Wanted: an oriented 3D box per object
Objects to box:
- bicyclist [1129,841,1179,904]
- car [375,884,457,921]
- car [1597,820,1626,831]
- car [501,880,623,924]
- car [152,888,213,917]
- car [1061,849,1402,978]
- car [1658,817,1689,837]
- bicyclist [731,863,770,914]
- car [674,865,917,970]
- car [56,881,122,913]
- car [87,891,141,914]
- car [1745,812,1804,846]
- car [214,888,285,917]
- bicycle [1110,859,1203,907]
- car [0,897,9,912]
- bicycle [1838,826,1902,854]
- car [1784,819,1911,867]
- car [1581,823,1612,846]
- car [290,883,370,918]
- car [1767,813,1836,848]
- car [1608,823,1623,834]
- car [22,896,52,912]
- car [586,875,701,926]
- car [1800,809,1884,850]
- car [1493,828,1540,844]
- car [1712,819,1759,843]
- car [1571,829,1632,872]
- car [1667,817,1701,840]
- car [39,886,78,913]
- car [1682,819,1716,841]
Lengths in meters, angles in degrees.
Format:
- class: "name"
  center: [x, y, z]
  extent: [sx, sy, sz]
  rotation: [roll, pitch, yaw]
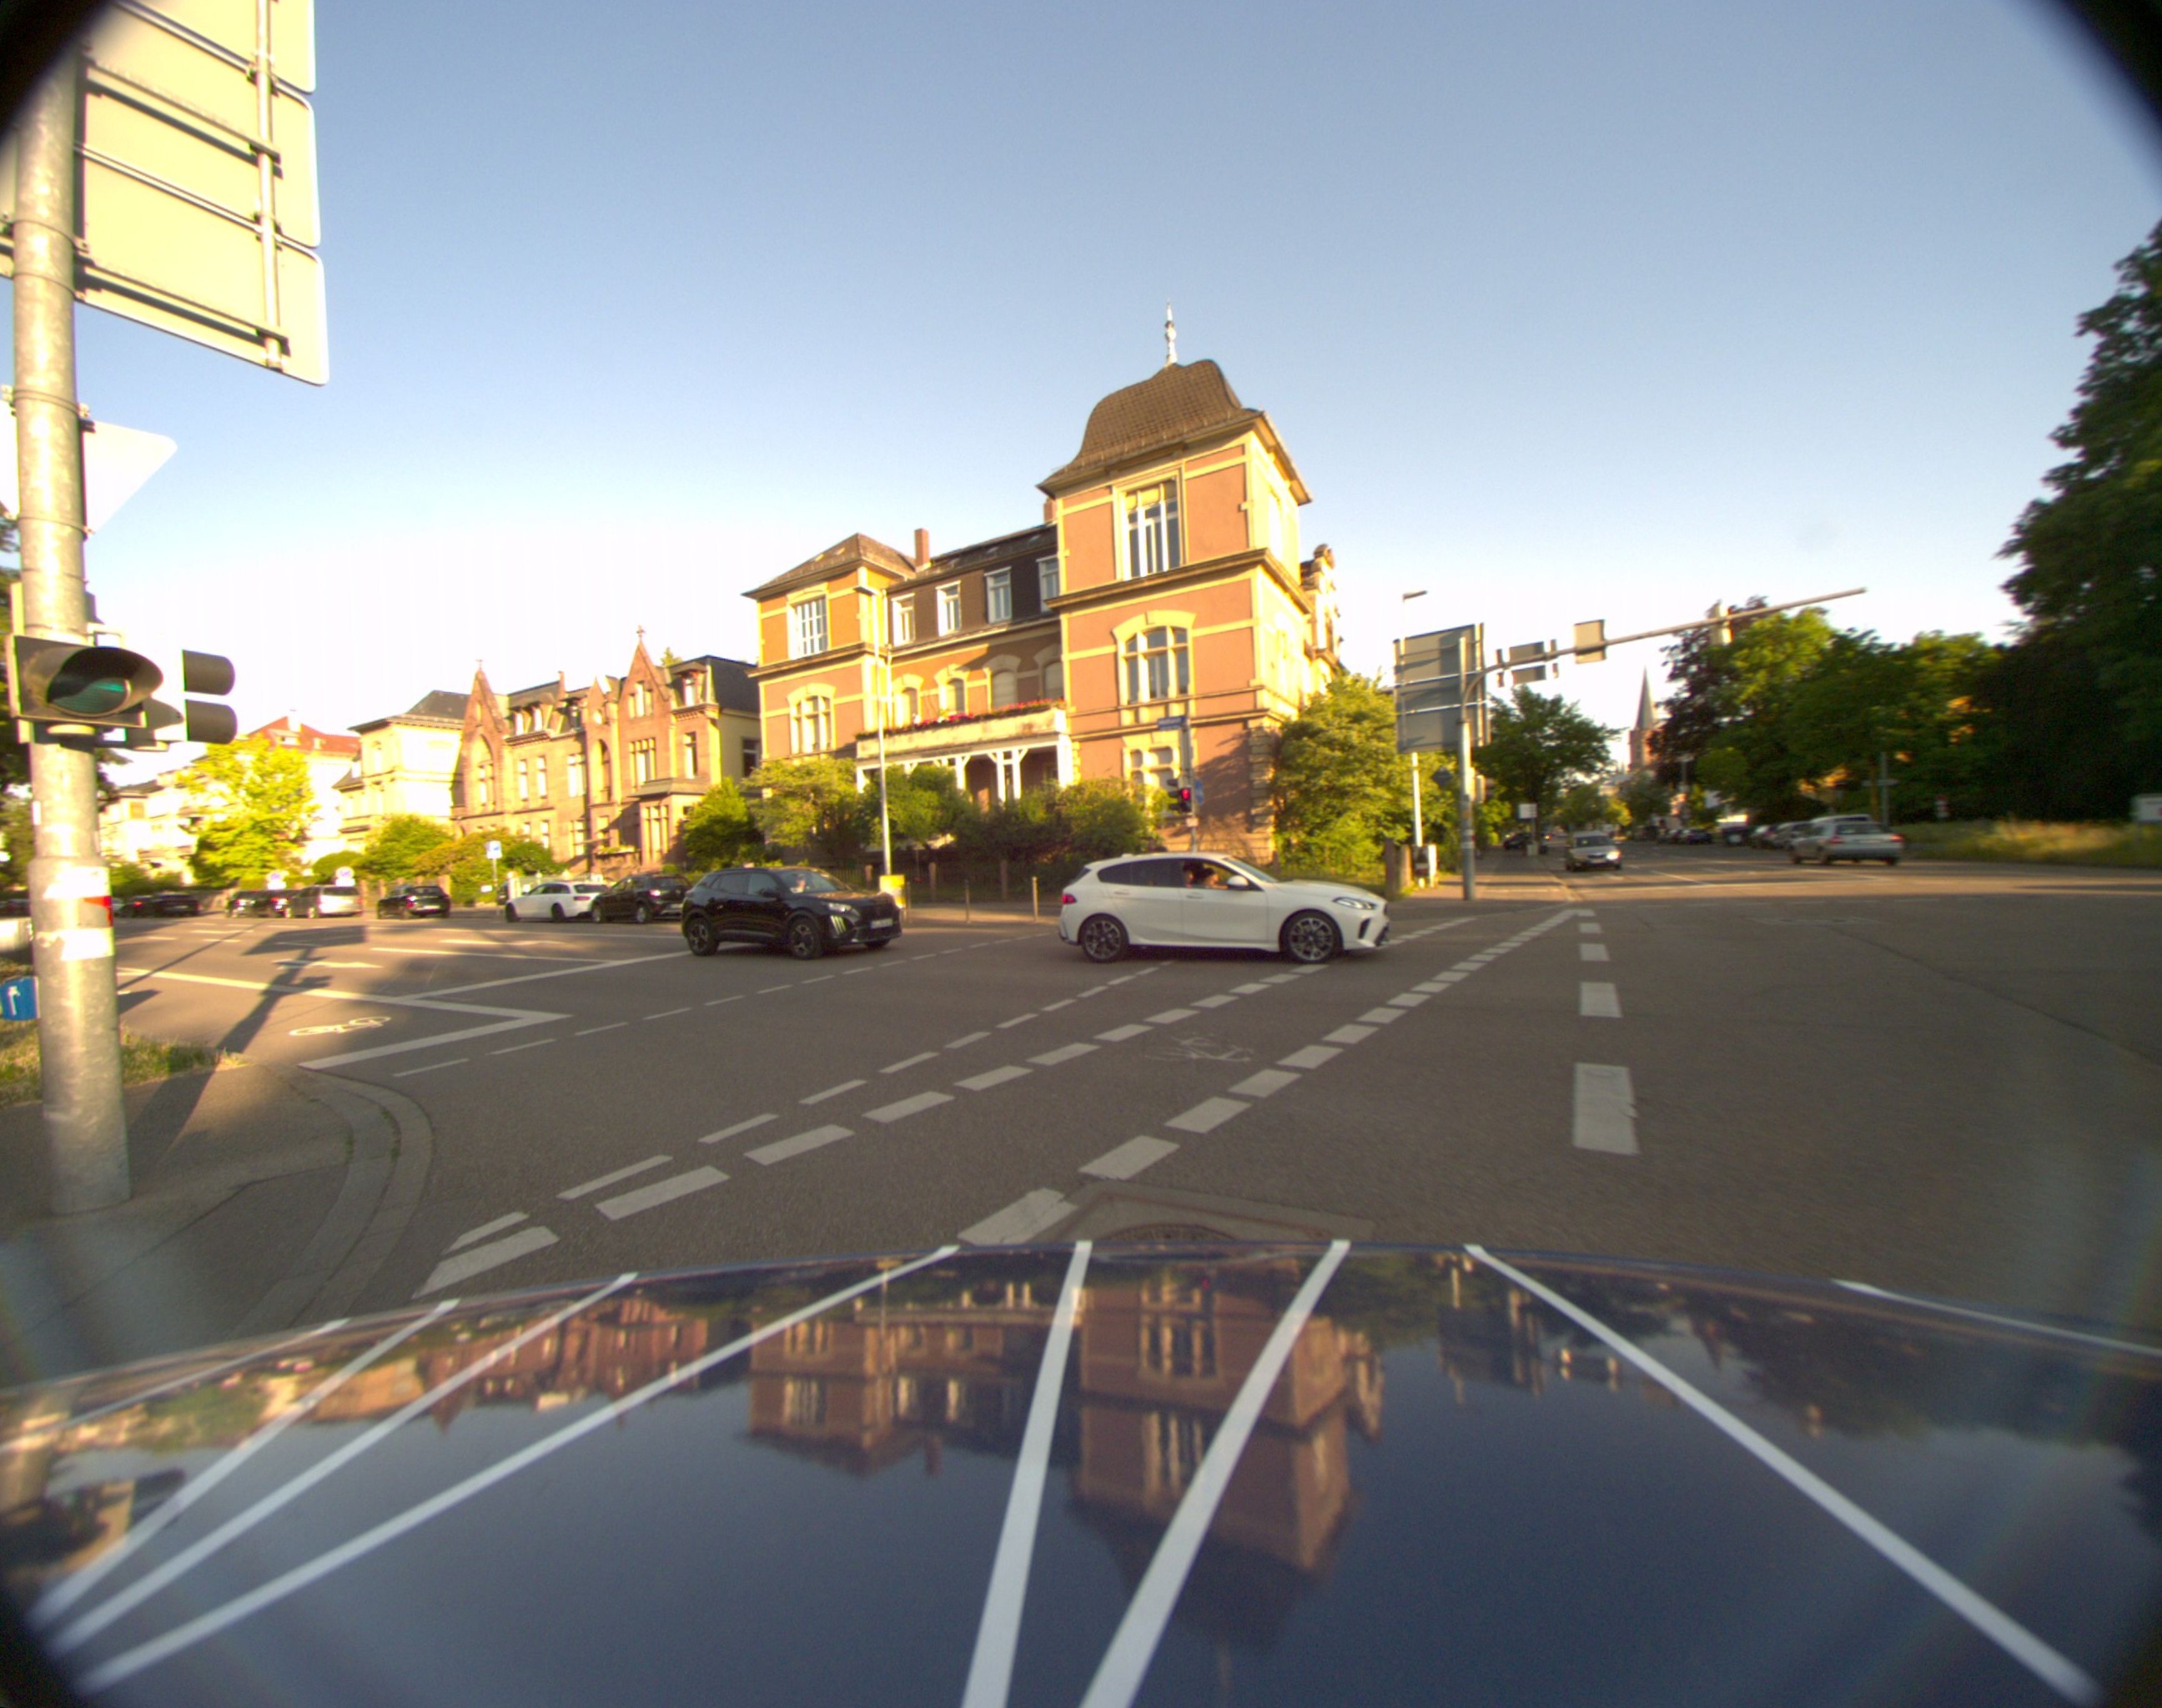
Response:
- class: "bicyclist"
  center: [1.819, 0.454, 18.907]
  extent: [0.953, 1.504, 0.686]
  rotation: [-2, 2, 30]
- class: "car"
  center: [-28.948, 2.086, 33.056]
  extent: [3.557, 1.437, 1.636]
  rotation: [-2, 0, 31]
- class: "car"
  center: [86.164, -4.617, 123.456]
  extent: [3.749, 1.608, 1.826]
  rotation: [-2, 1, 32]
- class: "car"
  center: [-18.335, 1.682, 26.803]
  extent: [4.421, 1.434, 1.613]
  rotation: [-2, -2, 27]
- class: "car"
  center: [-58.019, 3.108, 49.067]
  extent: [3.712, 1.596, 1.885]
  rotation: [0, 1, 30]
- class: "car"
  center: [2.030, 0.758, 10.277]
  extent: [4.179, 1.457, 1.760]
  rotation: [-2, 1, 22]
- class: "car"
  center: [60.406, -2.738, 77.503]
  extent: [1.995, 1.806, 4.006]
  rotation: [-2, 3, 30]
- class: "bicyclist"
  center: [-11.081, 1.147, 25.469]
  extent: [0.912, 1.624, 0.654]
  rotation: [-2, 3, 30]
- class: "car"
  center: [-5.007, 1.048, 13.229]
  extent: [3.990, 1.527, 1.686]
  rotation: [-2, 1, 29]
- class: "car"
  center: [-79.272, 3.472, 60.720]
  extent: [5.864, 2.355, 2.236]
  rotation: [-2, 0, 28]
- class: "car"
  center: [-73.301, 3.703, 57.584]
  extent: [3.844, 1.596, 1.720]
  rotation: [-2, 0, 26]
- class: "car"
  center: [43.293, -1.550, 47.528]
  extent: [1.933, 2.002, 4.007]
  rotation: [-2, 1, 31]
- class: "car"
  center: [-45.845, 2.657, 41.885]
  extent: [3.713, 1.441, 1.720]
  rotation: [-2, 0, 28]
- class: "bicycle"
  center: [1.866, 0.728, 18.898]
  extent: [2.163, 1.117, 0.689]
  rotation: [-2, 2, 30]
- class: "car"
  center: [-109.832, 5.123, 76.910]
  extent: [2.508, 1.430, 1.223]
  rotation: [-2, 0, 30]
- class: "bicycle"
  center: [35.358, -0.629, 34.082]
  extent: [1.872, 1.150, 0.754]
  rotation: [-2, 3, 34]
- class: "car"
  center: [24.916, -0.374, 24.892]
  extent: [1.731, 1.400, 4.146]
  rotation: [-3, 0, 28]
- class: "car"
  center: [43.497, -1.692, 64.199]
  extent: [1.995, 1.783, 4.007]
  rotation: [-2, 1, 32]
- class: "car"
  center: [-37.058, 2.280, 37.495]
  extent: [3.744, 1.579, 1.720]
  rotation: [-2, 0, 28]
- class: "car"
  center: [40.716, -1.315, 43.049]
  extent: [1.858, 1.835, 4.195]
  rotation: [-2, 1, 30]
- class: "car"
  center: [83.931, -4.006, 119.289]
  extent: [1.673, 1.718, 3.643]
  rotation: [-2, 1, 31]
- class: "car"
  center: [-97.521, 4.686, 70.954]
  extent: [2.690, 1.430, 1.330]
  rotation: [-2, 0, 30]
- class: "car"
  center: [-14.217, 1.501, 24.672]
  extent: [3.713, 1.525, 1.636]
  rotation: [-2, -2, 31]
- class: "car"
  center: [37.832, -1.215, 37.890]
  extent: [1.858, 1.835, 4.127]
  rotation: [-2, 1, 29]
- class: "car"
  center: [44.390, -1.815, 77.579]
  extent: [1.810, 1.500, 3.842]
  rotation: [-4, 2, -20]
- class: "car"
  center: [48.420, -1.694, 56.281]
  extent: [1.933, 1.633, 4.007]
  rotation: [-2, 1, 31]
- class: "car"
  center: [20.860, -0.170, 30.590]
  extent: [1.687, 1.501, 3.707]
  rotation: [-5, -1, 31]
- class: "car"
  center: [57.859, -2.423, 72.994]
  extent: [1.995, 2.002, 4.006]
  rotation: [-2, 3, 30]
- class: "car"
  center: [-89.899, 4.012, 66.798]
  extent: [3.790, 2.252, 1.575]
  rotation: [-2, 0, 30]
- class: "car"
  center: [55.181, -2.175, 67.862]
  extent: [1.795, 1.718, 4.006]
  rotation: [-2, 2, 31]
